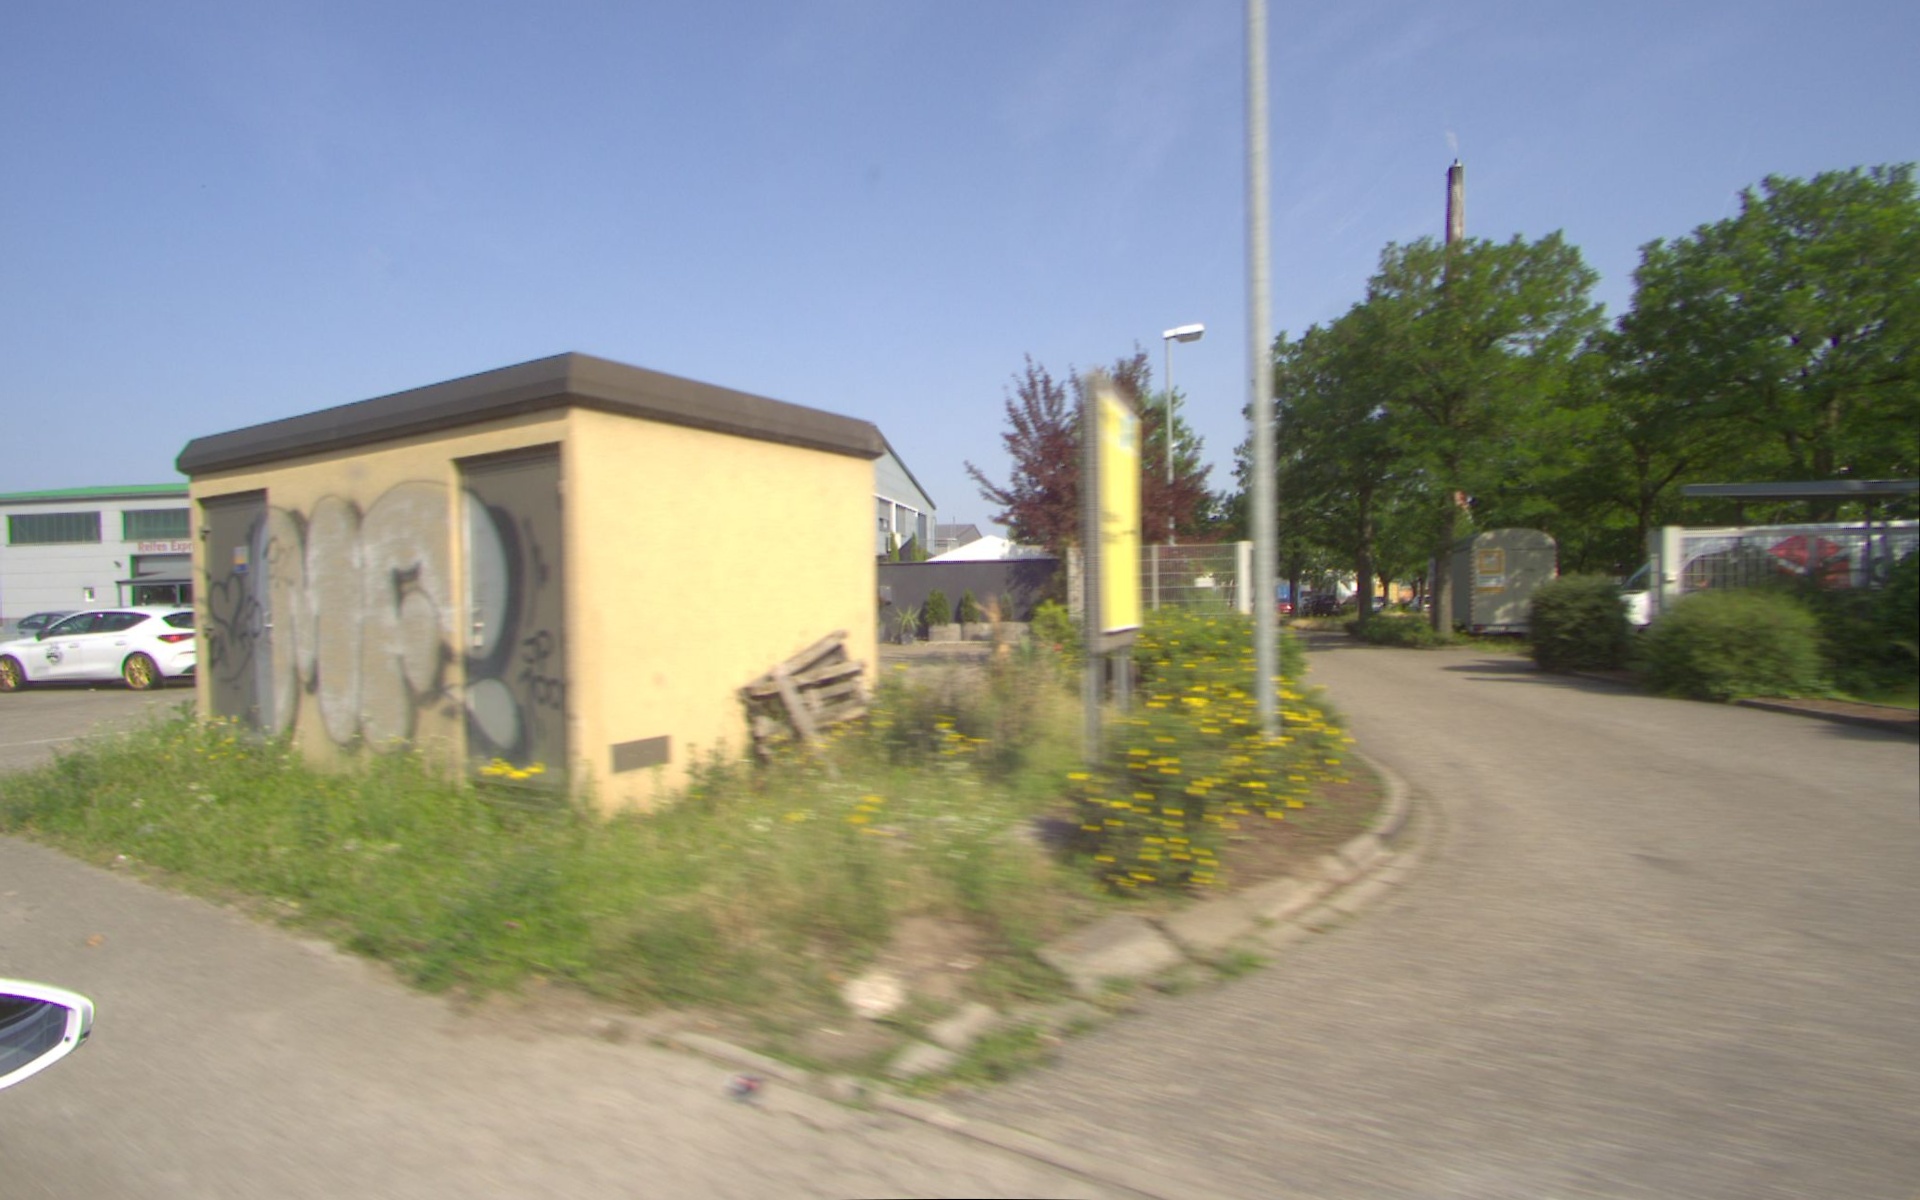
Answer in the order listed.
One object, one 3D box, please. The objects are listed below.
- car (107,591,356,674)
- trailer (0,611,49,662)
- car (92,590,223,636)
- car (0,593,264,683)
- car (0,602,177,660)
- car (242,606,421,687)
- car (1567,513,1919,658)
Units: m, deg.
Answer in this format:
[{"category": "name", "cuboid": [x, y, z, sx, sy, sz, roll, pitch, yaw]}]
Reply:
[{"category": "car", "cuboid": [-14.918, 0.643, 20.598, 4.053, 1.593, 1.719, -1, 1, 8]}, {"category": "trailer", "cuboid": [-25.397, 0.931, 25.658, 2.919, 1.264, 1.494, 0, 0, 6]}, {"category": "car", "cuboid": [-29.155, 0.462, 36.415, 3.734, 1.589, 1.637, -1, 1, 11]}, {"category": "car", "cuboid": [-15.167, 0.663, 18.100, 4.180, 1.486, 1.692, -1, 1, 8]}, {"category": "car", "cuboid": [-24.145, 0.835, 27.438, 4.375, 1.486, 1.643, -1, 1, 8]}, {"category": "car", "cuboid": [-14.477, 1.043, 23.152, 3.152, 1.743, 1.643, -1, 1, 8]}, {"category": "car", "cuboid": [16.170, -0.270, 19.816, 6.763, 2.644, 2.218, -1, 1, 11]}]
